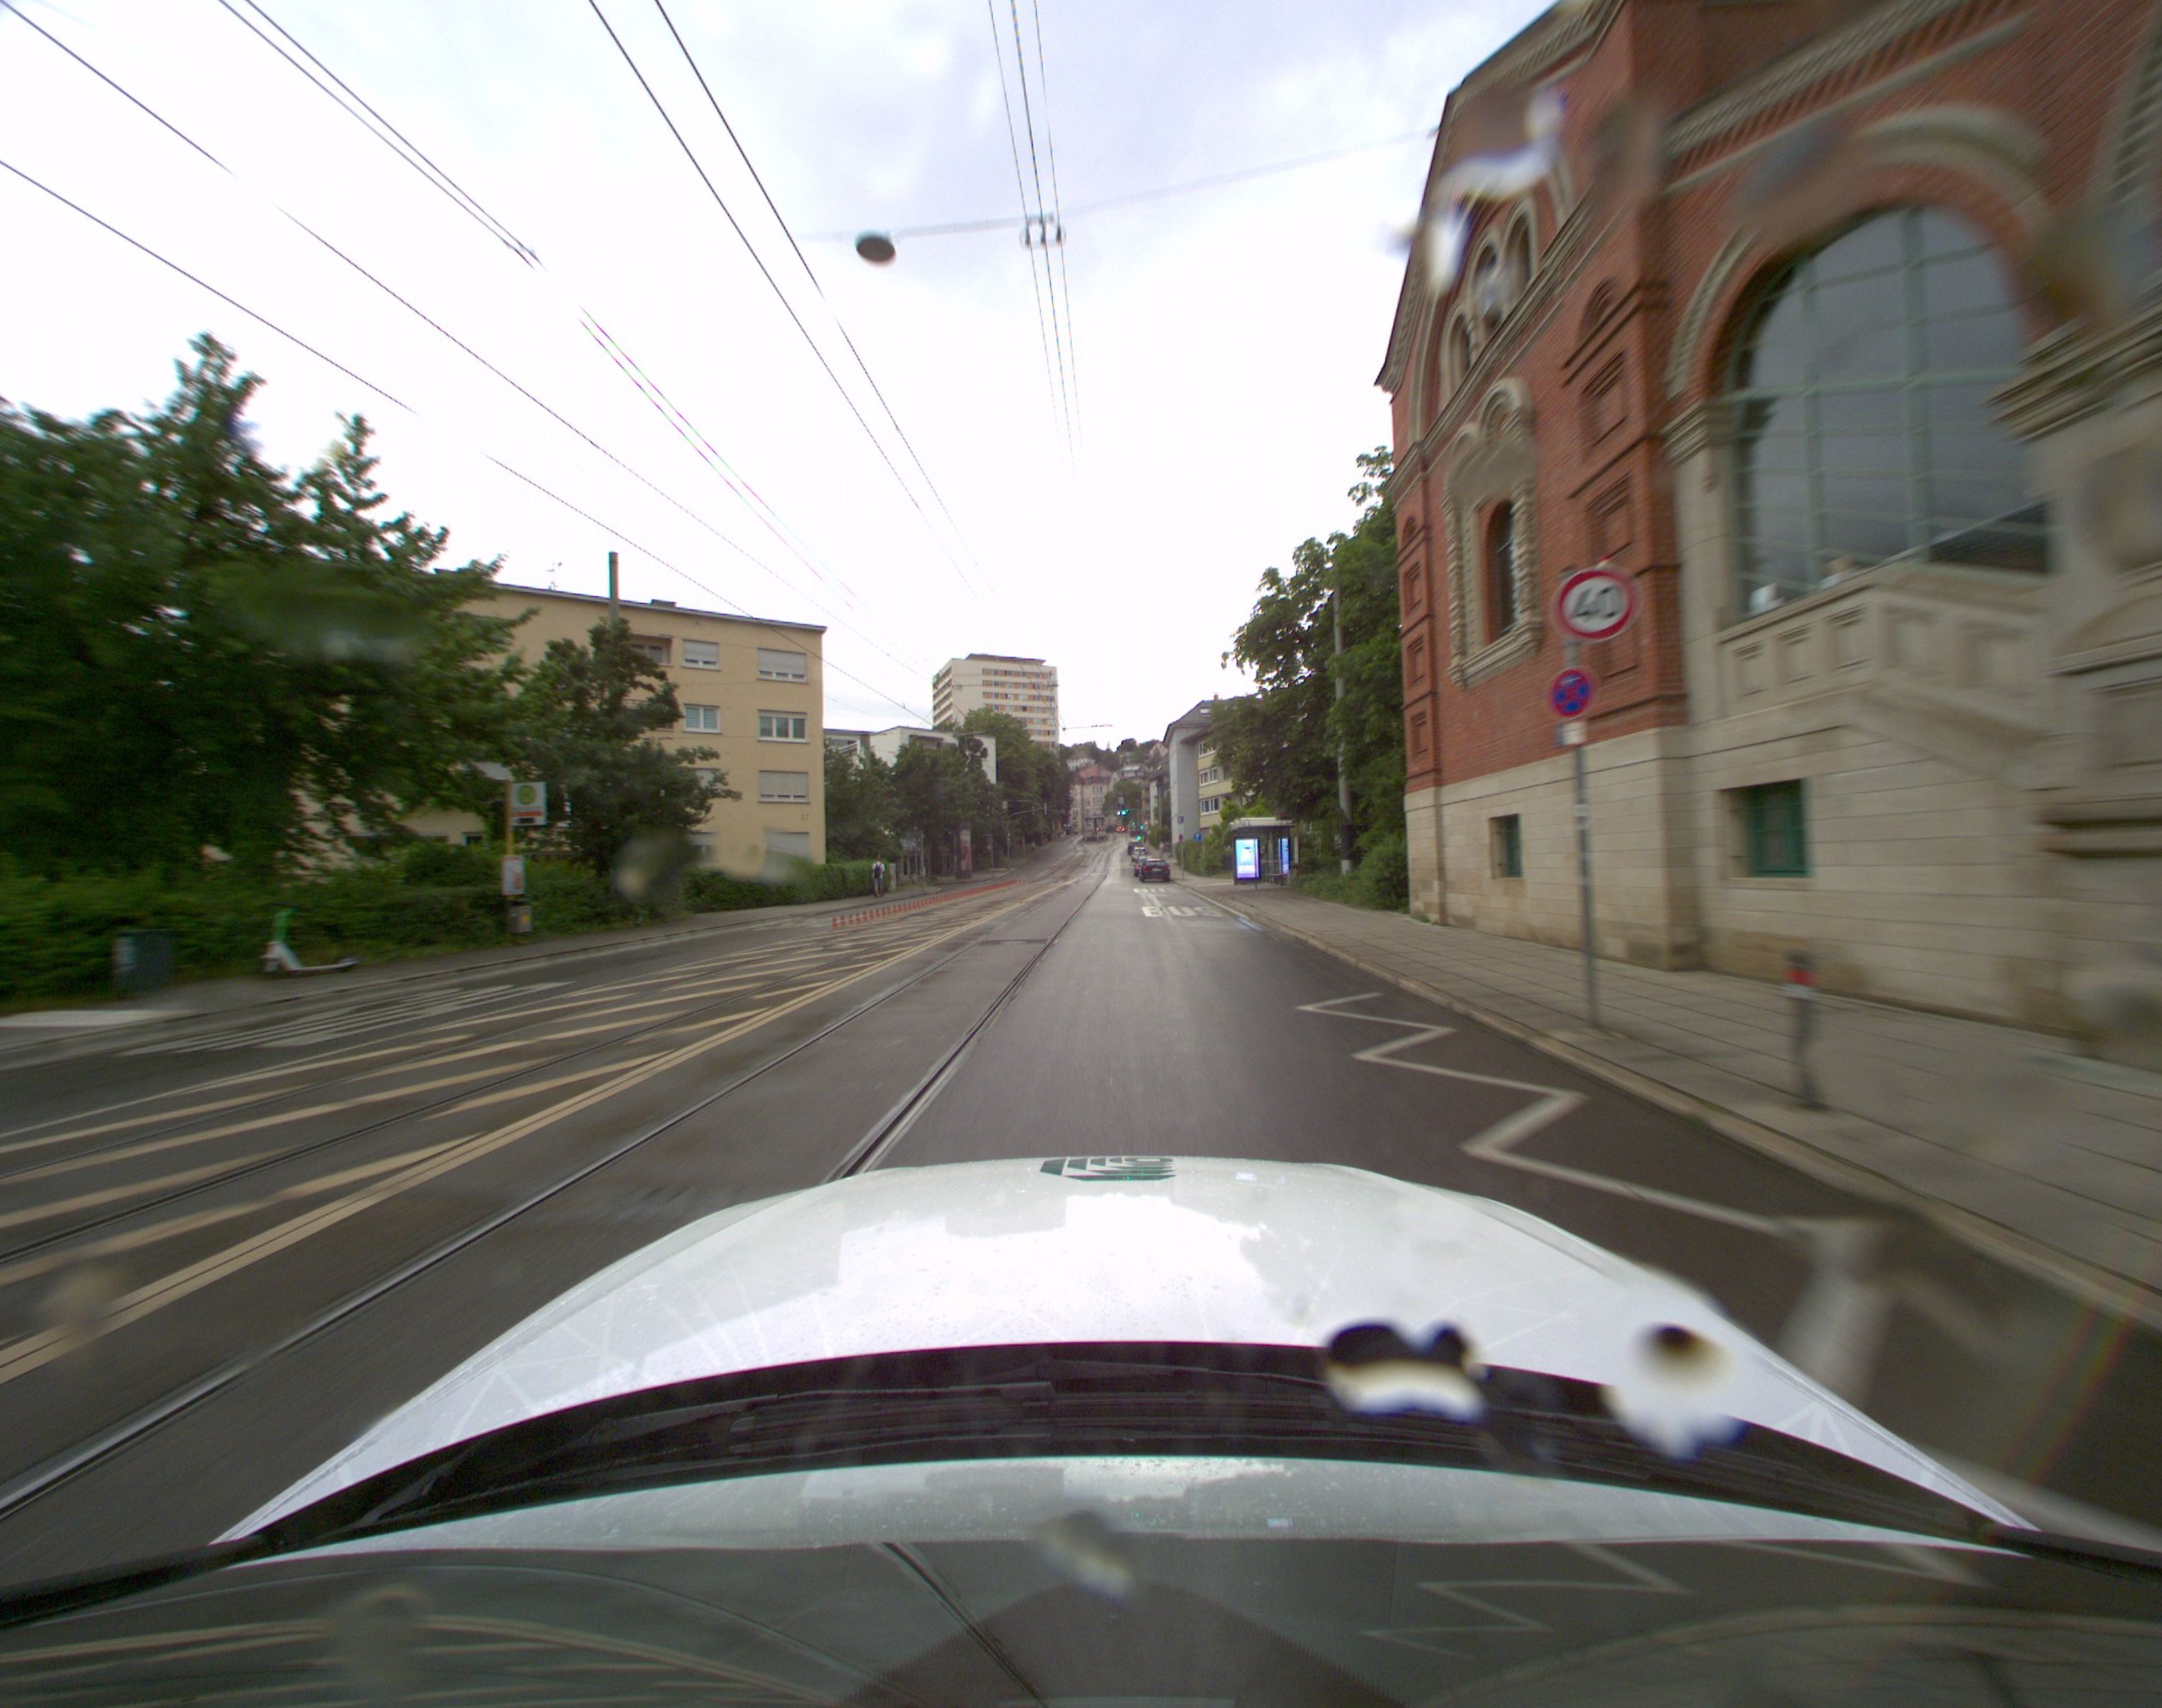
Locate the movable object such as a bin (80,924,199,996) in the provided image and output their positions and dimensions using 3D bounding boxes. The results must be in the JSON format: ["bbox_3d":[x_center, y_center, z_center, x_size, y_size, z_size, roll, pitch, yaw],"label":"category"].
[{"bbox_3d":[-12.592,1.403,10.921,0.685,0.882,0.759,-1,-2,-3],"label":"movable object such as a bin"}]

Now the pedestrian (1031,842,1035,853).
[{"bbox_3d":[-6.921,-0.900,117.123,0.581,1.600,0.869,1,1,-1],"label":"pedestrian"}]

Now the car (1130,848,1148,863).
[{"bbox_3d":[6.224,0.154,87.836,1.698,1.433,4.104,0,2,2],"label":"car"}]

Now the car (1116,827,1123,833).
[{"bbox_3d":[10.532,-6.655,222.531,1.899,1.641,4.692,0,2,2],"label":"car"}]

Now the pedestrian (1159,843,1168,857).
[{"bbox_3d":[9.832,-0.433,97.078,0.878,1.582,0.803,-3,3,4],"label":"pedestrian"}]

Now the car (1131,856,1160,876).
[{"bbox_3d":[4.940,0.882,62.959,1.933,1.464,4.206,-1,0,1],"label":"car"}]

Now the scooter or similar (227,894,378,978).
[{"bbox_3d":[-12.084,1.233,12.712,0.568,1.184,1.606,-1,-2,16],"label":"scooter or similar"}]

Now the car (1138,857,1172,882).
[{"bbox_3d":[4.635,0.939,51.475,1.851,1.487,4.646,-1,0,1],"label":"car"}]

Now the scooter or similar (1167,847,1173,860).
[{"bbox_3d":[9.686,-0.095,88.363,0.571,1.249,1.614,-1,4,8],"label":"scooter or similar"}]

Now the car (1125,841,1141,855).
[{"bbox_3d":[6.612,-0.756,104.076,1.899,1.641,4.692,0,2,2],"label":"car"}]

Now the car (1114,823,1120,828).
[{"bbox_3d":[11.325,-9.024,258.777,1.899,1.641,4.692,0,2,2],"label":"car"}]

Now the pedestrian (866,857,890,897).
[{"bbox_3d":[-9.499,1.088,38.109,0.917,1.846,1.016,0,-1,-3],"label":"pedestrian"}]
